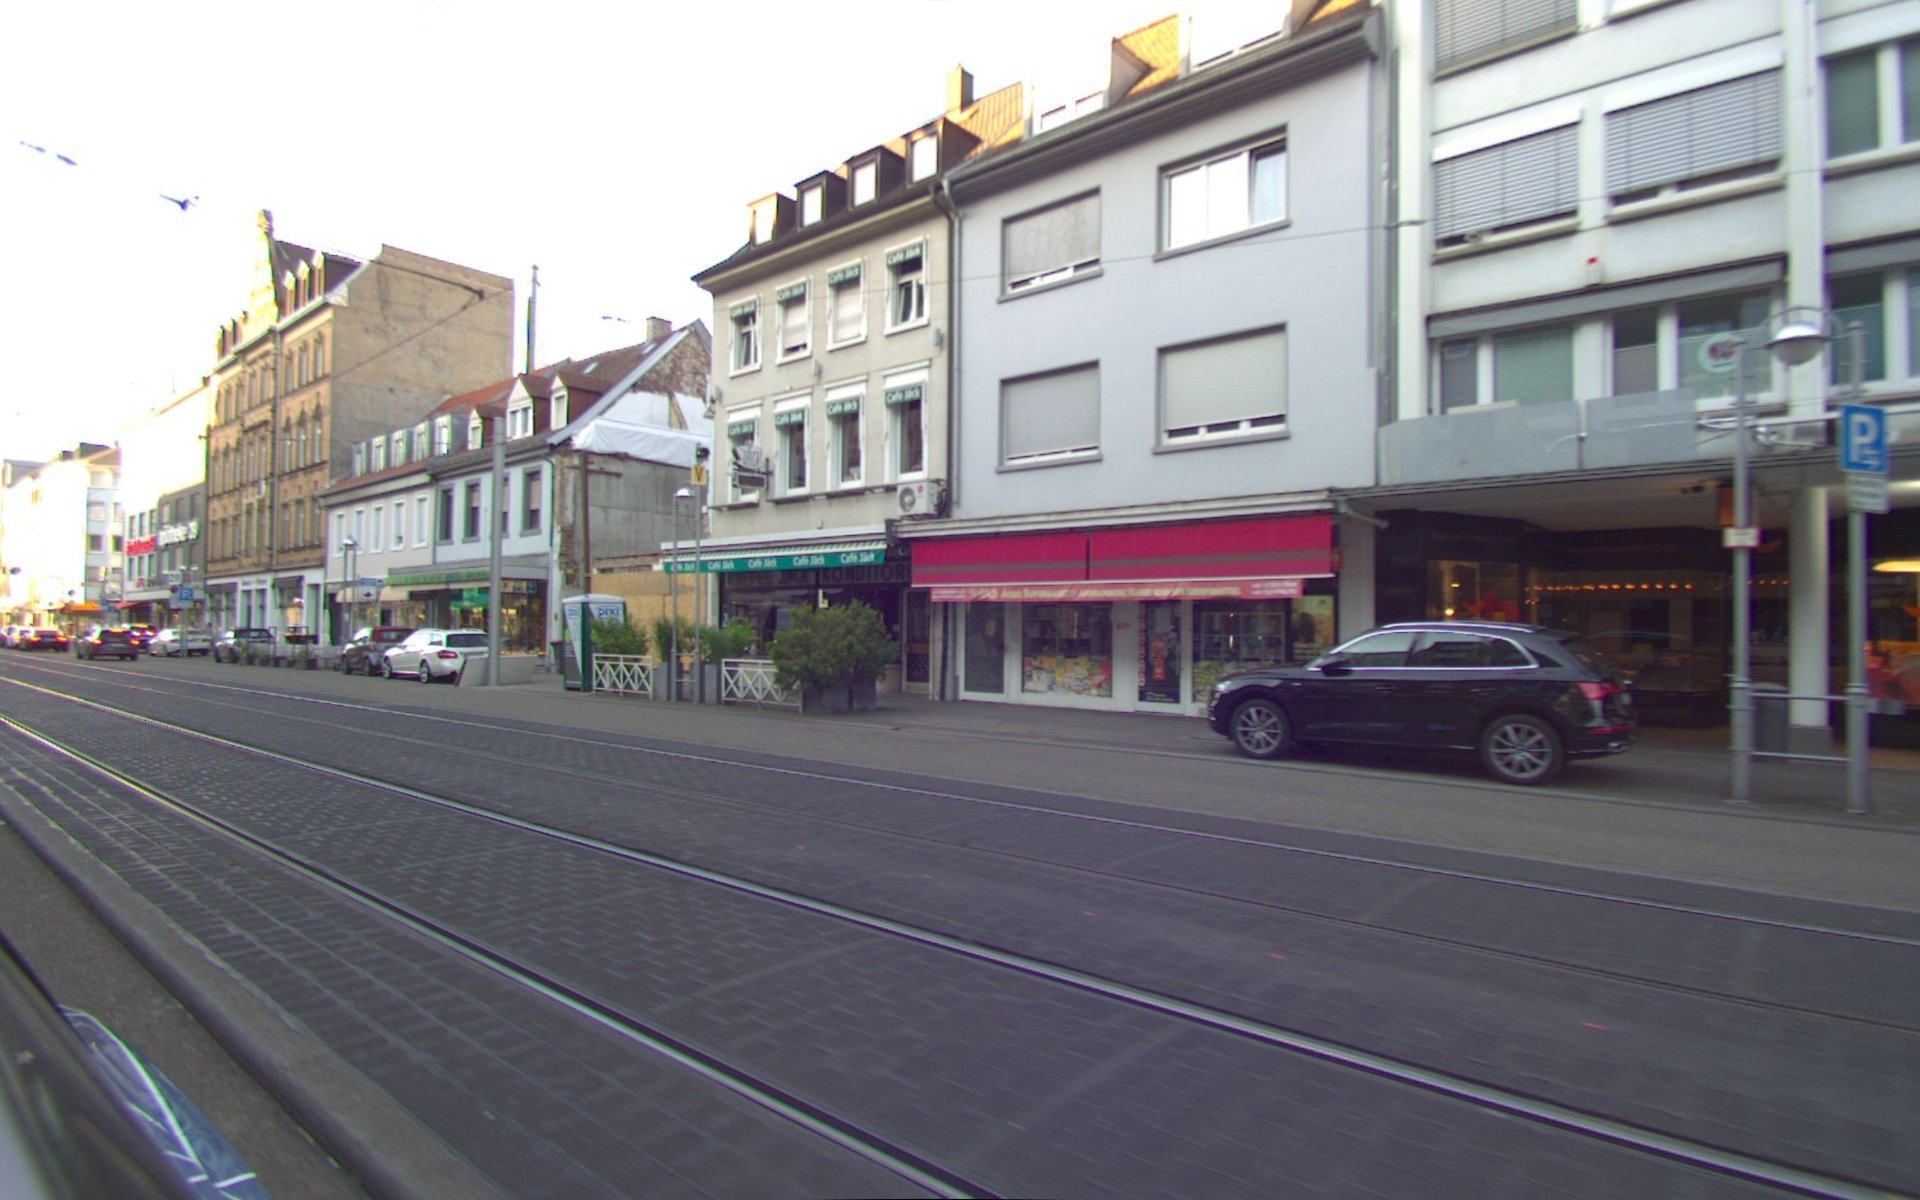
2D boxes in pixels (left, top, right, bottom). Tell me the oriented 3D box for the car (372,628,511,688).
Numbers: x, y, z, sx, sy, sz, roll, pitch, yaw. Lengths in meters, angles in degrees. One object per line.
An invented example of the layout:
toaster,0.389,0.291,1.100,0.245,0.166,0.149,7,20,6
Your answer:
car,-15.101,1.611,29.378,4.876,1.556,1.972,-1,-2,42

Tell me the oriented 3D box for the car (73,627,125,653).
car,-55.214,2.553,64.887,3.998,1.564,1.973,-1,-3,41

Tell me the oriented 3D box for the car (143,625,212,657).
car,-39.507,2.051,51.061,4.204,1.564,1.973,-1,-3,41

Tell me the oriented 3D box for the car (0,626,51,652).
car,-58.025,2.387,62.746,3.998,1.564,1.973,-1,-3,41

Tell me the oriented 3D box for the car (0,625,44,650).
car,-62.825,2.486,67.577,3.998,1.564,1.973,-1,-3,41

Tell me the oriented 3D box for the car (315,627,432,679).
car,-19.089,1.666,32.880,4.550,1.556,1.889,-1,-3,41

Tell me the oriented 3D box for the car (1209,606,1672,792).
car,5.397,0.971,11.729,4.524,1.734,1.839,-1,-1,40

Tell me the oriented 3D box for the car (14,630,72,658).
car,-52.564,2.489,58.015,3.998,1.564,1.973,-1,-3,41

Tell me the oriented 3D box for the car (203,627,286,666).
car,-30.465,1.933,43.051,3.998,1.564,1.973,-1,-3,41

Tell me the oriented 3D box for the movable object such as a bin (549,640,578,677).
movable object such as a bin,-12.352,1.812,31.520,0.615,1.130,0.611,-2,-3,45

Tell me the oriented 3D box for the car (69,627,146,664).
car,-37.873,1.994,44.926,3.998,1.564,1.973,-1,-3,41
